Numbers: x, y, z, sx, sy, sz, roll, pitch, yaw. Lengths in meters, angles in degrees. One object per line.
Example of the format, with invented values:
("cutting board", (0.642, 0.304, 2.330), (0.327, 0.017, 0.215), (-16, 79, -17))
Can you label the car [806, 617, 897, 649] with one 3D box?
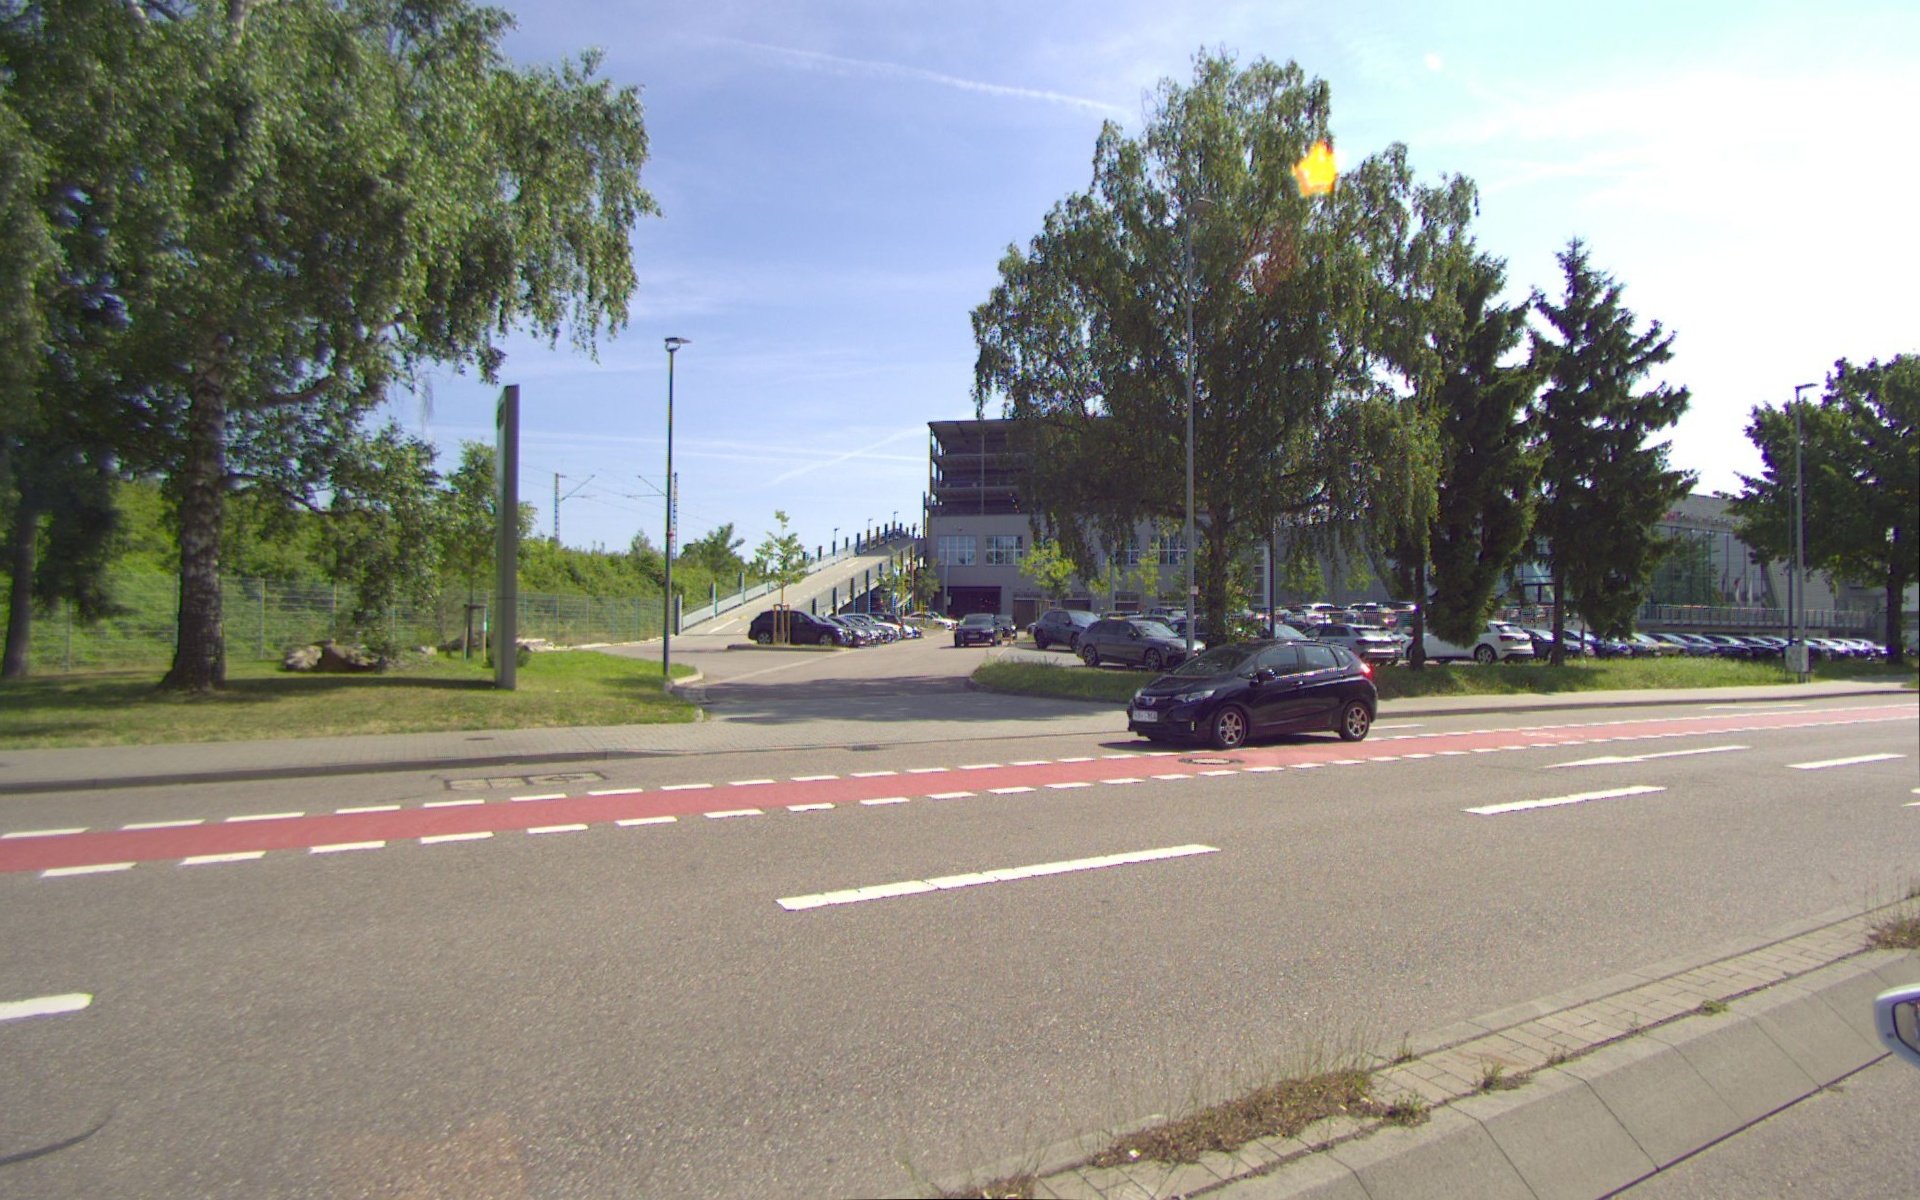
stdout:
("car", (-5.898, 1.780, 54.731), (4.666, 1.567, 1.815), (1, 0, 3))

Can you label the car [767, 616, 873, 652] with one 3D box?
("car", (-6.581, 1.581, 47.519), (4.666, 1.545, 2.001), (1, 0, 3))

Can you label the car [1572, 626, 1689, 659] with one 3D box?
("car", (29.403, 1.890, 44.125), (1.819, 1.358, 3.868), (1, -3, -31))

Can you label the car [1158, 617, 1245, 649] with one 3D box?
("car", (12.400, 1.663, 51.827), (1.978, 1.496, 4.178), (1, 0, -32))

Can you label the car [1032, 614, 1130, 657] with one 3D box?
("car", (4.870, 1.426, 41.064), (1.784, 1.585, 4.221), (1, 0, -30))

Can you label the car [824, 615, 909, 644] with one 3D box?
("car", (-5.353, 1.680, 57.803), (4.666, 1.567, 1.815), (1, 0, 3))

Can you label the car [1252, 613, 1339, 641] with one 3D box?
("car", (18.714, 1.518, 56.190), (1.957, 1.504, 4.477), (1, -2, -31))

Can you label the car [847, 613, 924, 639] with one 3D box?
("car", (-4.872, 1.727, 66.171), (4.863, 1.569, 2.000), (1, 0, 1))

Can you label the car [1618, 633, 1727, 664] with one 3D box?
("car", (32.151, 2.203, 45.381), (1.844, 1.302, 3.577), (1, -3, -31))

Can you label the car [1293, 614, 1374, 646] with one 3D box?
("car", (21.118, 1.714, 56.968), (1.646, 1.728, 4.247), (1, -2, -31))

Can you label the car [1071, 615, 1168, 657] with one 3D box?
("car", (6.676, 1.495, 42.465), (1.784, 1.585, 4.221), (1, 0, -30))

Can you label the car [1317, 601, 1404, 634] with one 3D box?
("car", (23.305, 1.026, 58.642), (1.957, 1.839, 4.477), (1, -2, -31))

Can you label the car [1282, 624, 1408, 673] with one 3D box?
("car", (13.417, 1.664, 35.239), (1.823, 1.506, 3.974), (1, 0, -25))

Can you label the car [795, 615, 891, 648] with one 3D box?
("car", (-6.014, 1.595, 52.083), (4.666, 1.567, 1.815), (1, 0, 3))

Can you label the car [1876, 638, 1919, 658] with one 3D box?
("car", (57.196, 2.809, 59.470), (1.876, 1.171, 3.969), (1, -5, -31))

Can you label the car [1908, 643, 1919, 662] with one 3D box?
("car", (62.532, 3.231, 62.957), (1.933, 1.205, 4.154), (1, -5, -31))

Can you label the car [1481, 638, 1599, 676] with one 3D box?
("car", (23.187, 2.262, 40.277), (1.725, 1.302, 3.772), (1, 0, -31))

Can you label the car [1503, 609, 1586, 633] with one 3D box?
("car", (39.301, 1.398, 67.636), (1.962, 1.516, 4.499), (1, 0, -29))

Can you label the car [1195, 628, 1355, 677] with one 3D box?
("car", (9.869, 1.597, 31.854), (1.976, 1.285, 4.829), (1, 0, -29))

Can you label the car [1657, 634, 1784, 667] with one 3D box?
("car", (36.535, 2.391, 48.354), (1.957, 1.495, 4.477), (1, -2, -31))

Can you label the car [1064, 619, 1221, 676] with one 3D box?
("car", (5.157, 1.302, 29.044), (1.976, 1.408, 4.665), (1, 0, -29))

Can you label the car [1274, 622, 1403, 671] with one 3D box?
("car", (12.270, 1.471, 32.758), (1.795, 1.389, 3.663), (1, 0, -29))

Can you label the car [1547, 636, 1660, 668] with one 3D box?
("car", (27.311, 2.205, 42.726), (1.644, 1.302, 3.724), (1, -3, -31))

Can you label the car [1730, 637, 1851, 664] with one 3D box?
("car", (42.821, 2.566, 51.885), (1.898, 1.307, 4.477), (1, -2, -31))

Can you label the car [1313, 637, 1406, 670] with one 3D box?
("car", (19.611, 2.602, 49.474), (1.869, 1.437, 3.966), (1, 0, -31))

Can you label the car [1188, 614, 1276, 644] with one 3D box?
("car", (14.400, 1.523, 53.333), (1.869, 1.437, 4.476), (1, 0, -31))

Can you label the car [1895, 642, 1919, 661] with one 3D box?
("car", (60.138, 3.082, 61.228), (2.063, 1.171, 4.154), (1, -5, -31))

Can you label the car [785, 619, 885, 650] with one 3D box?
("car", (-6.189, 1.711, 50.108), (4.666, 1.388, 1.815), (1, 0, 3))

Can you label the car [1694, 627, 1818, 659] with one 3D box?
("car", (39.578, 2.116, 50.030), (1.898, 1.495, 4.477), (1, -2, -31))

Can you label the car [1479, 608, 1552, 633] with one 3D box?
("car", (36.625, 1.336, 66.286), (1.648, 1.516, 3.969), (1, 0, -29))

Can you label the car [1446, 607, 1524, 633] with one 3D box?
("car", (33.823, 1.270, 64.812), (2.027, 1.516, 3.969), (1, 0, -29))

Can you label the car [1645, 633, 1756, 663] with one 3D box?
("car", (34.338, 2.235, 46.663), (1.963, 1.302, 3.662), (1, -3, -31))

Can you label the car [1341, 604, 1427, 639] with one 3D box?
("car", (25.308, 1.318, 60.075), (1.957, 1.988, 4.477), (1, -2, -31))

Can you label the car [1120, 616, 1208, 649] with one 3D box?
("car", (10.178, 1.605, 50.373), (1.978, 1.496, 4.178), (1, 0, -32))

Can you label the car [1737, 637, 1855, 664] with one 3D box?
("car", (43.936, 2.616, 52.896), (1.672, 1.307, 4.477), (1, -2, -31))

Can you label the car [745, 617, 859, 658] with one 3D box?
("car", (-6.986, 1.645, 44.676), (4.666, 1.639, 2.001), (1, 0, 3))

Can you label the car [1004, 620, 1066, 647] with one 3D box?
("car", (4.760, 2.153, 64.262), (3.920, 1.679, 2.001), (0, -2, 2))

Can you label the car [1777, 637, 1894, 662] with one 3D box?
("car", (47.525, 2.662, 54.612), (1.898, 1.307, 4.477), (1, -2, -31))

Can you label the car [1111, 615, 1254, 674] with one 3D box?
("car", (6.702, 1.305, 30.677), (1.976, 1.567, 4.195), (1, 0, -29))

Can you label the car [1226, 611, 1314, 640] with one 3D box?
("car", (16.941, 1.396, 55.028), (1.957, 1.504, 4.477), (1, -2, -31))

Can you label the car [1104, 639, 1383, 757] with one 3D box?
("car", (4.238, 1.356, 14.889), (3.980, 1.538, 1.690), (1, -3, -30))

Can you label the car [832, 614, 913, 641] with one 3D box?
("car", (-5.439, 1.702, 63.161), (4.863, 1.569, 2.000), (1, 0, 1))

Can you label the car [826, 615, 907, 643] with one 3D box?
("car", (-5.627, 1.717, 60.676), (4.666, 1.567, 1.815), (1, 0, 3))

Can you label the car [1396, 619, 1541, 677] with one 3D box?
("car", (18.681, 1.713, 37.104), (1.975, 1.900, 4.445), (1, 0, -28))

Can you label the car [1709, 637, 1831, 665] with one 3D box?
("car", (41.050, 2.565, 50.992), (1.898, 1.307, 4.477), (1, -2, -31))

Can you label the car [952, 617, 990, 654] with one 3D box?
("car", (0.514, 1.565, 45.523), (1.628, 1.567, 4.036), (1, 0, 1))

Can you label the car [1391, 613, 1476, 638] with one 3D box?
("car", (29.439, 1.612, 62.570), (1.957, 1.504, 4.477), (1, -2, -31))

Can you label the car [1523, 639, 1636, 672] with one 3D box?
("car", (25.587, 2.298, 41.585), (1.725, 1.302, 3.577), (1, -3, -31))
